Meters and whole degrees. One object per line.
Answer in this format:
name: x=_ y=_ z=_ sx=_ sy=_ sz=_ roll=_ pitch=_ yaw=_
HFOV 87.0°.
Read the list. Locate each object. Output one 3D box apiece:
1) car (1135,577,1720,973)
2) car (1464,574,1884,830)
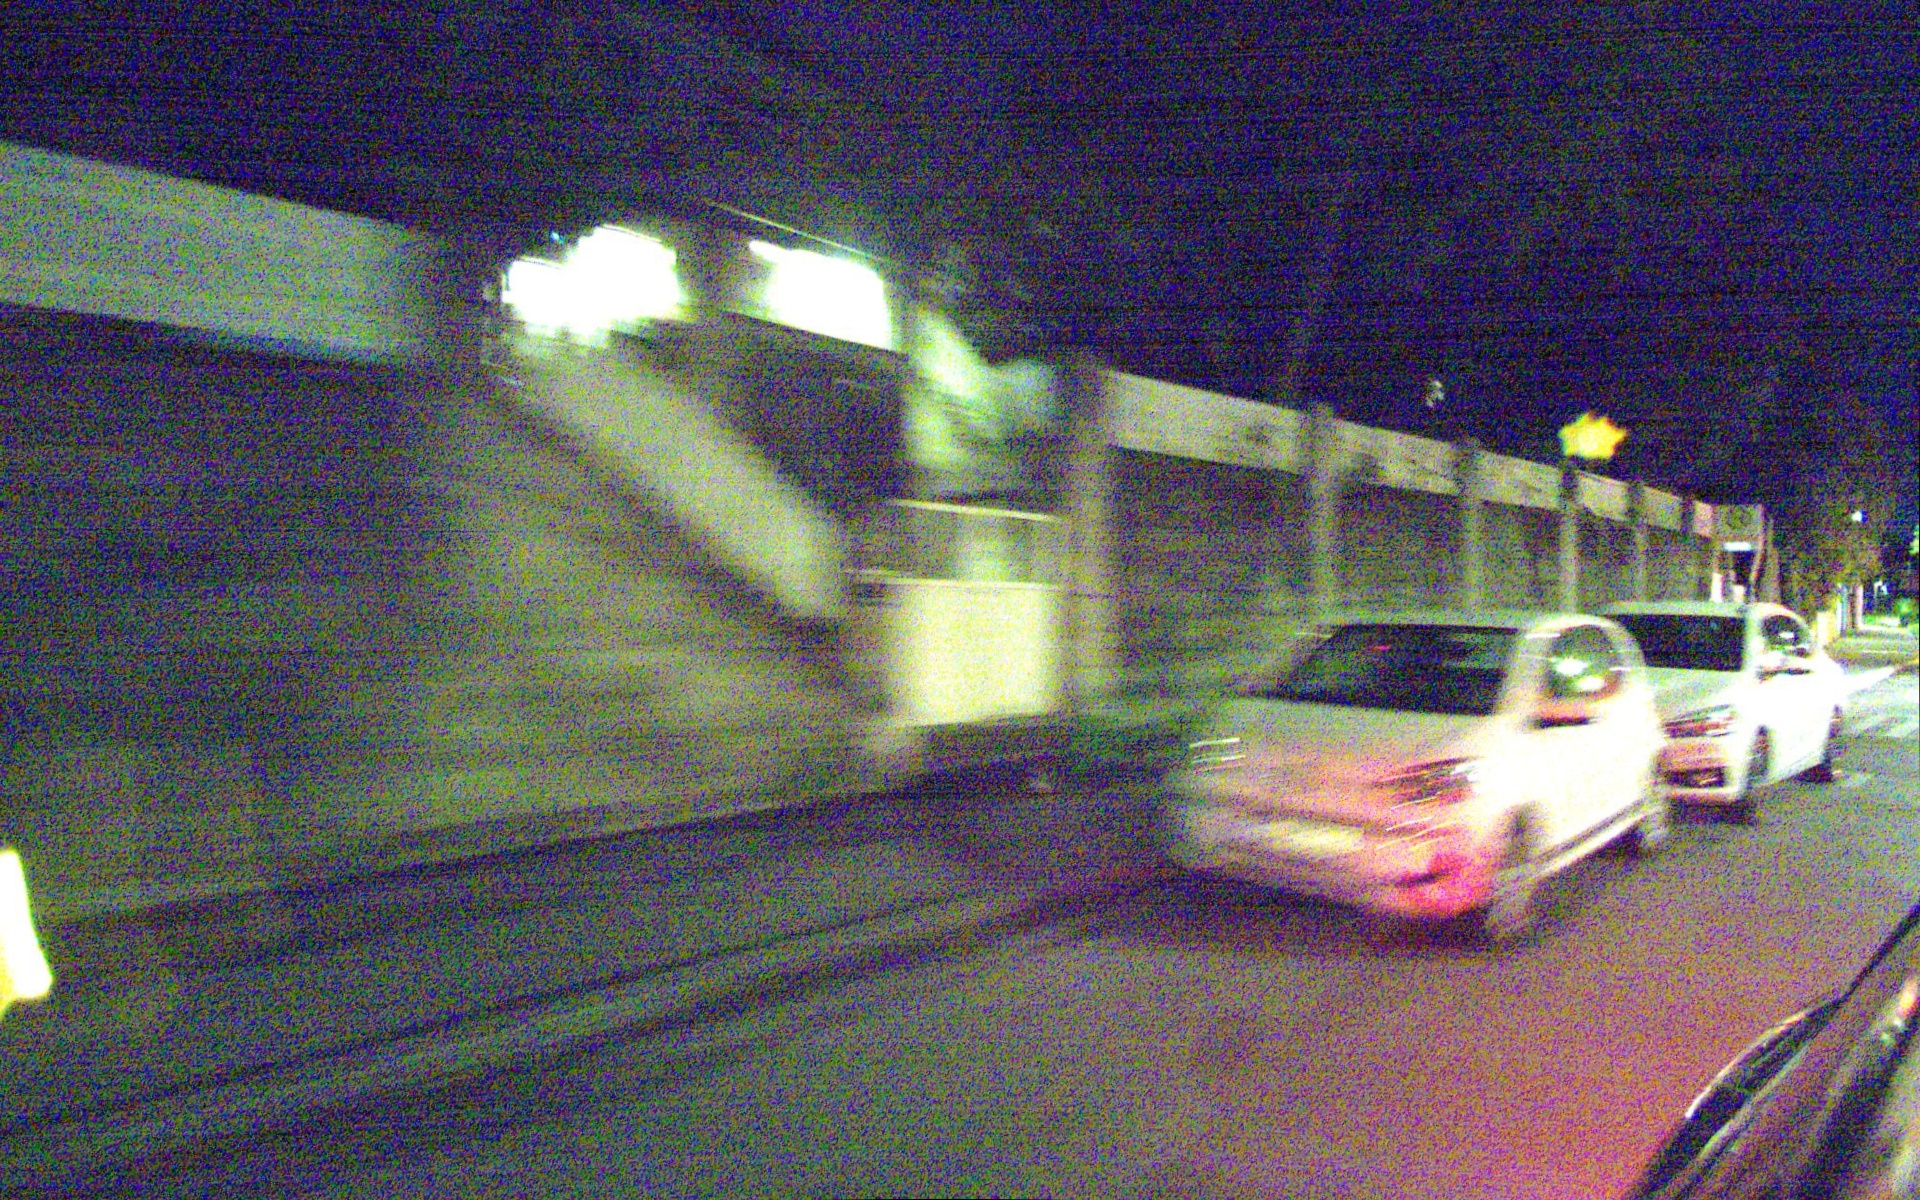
car: x=2.807 y=0.699 z=5.712 sx=3.651 sy=1.479 sz=1.612 roll=2 pitch=1 yaw=-41
car: x=6.202 y=0.655 z=8.557 sx=4.644 sy=1.614 sz=1.758 roll=0 pitch=-1 yaw=-40
